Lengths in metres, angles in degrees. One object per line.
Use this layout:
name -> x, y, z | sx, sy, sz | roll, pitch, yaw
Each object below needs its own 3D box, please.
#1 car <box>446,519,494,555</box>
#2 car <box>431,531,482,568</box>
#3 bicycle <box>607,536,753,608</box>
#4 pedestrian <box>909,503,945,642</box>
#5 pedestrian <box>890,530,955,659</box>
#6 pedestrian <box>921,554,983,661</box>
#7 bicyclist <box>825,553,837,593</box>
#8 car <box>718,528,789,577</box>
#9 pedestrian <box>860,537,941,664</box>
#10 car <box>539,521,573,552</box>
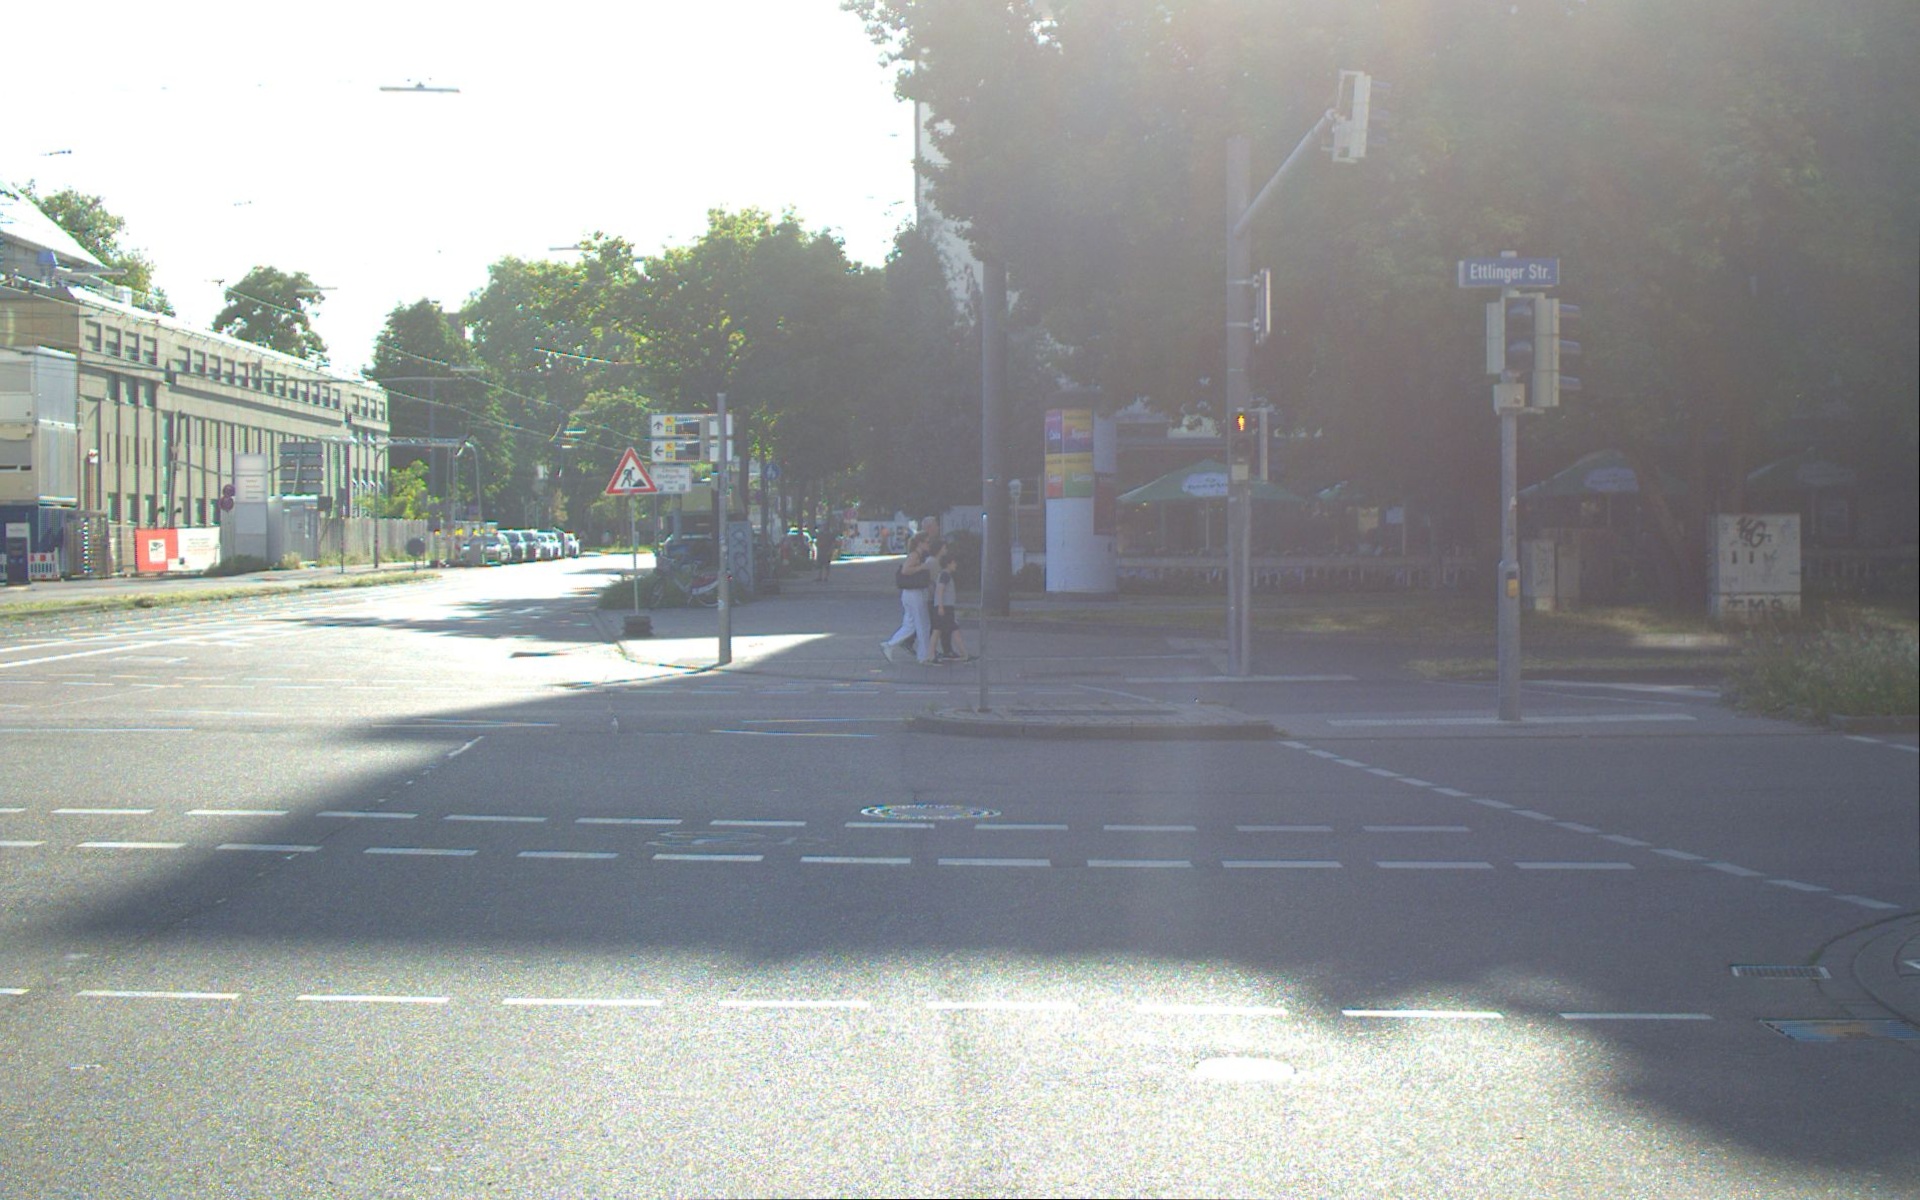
car -> -22.802, -2.921, 160.075 | 1.731, 1.647, 4.000 | 0, 1, -1
car -> -22.830, -2.307, 156.017 | 1.731, 1.647, 4.000 | 0, 1, -1
bicycle -> -5.466, -0.551, 67.148 | 2.748, 1.363, 0.630 | 1, 0, 11
pedestrian -> -0.431, -0.358, 44.788 | 0.361, 1.798, 0.506 | 0, 1, 11
pedestrian -> -0.478, -0.074, 44.223 | 0.795, 1.634, 0.533 | 0, 1, 2
pedestrian -> -0.099, 0.091, 43.124 | 0.752, 1.328, 0.742 | 0, 1, 1
bicyclist -> -3.691, -0.775, 98.301 | 0.318, 1.123, 0.291 | -1, 1, -1
car -> -5.517, -1.288, 92.123 | 1.819, 1.274, 4.001 | 0, 1, -3
pedestrian -> -0.745, 0.000, 43.516 | 0.984, 1.582, 0.660 | 0, 0, 1
car -> -22.834, -3.586, 194.532 | 1.483, 1.744, 4.000 | -1, 1, -1
